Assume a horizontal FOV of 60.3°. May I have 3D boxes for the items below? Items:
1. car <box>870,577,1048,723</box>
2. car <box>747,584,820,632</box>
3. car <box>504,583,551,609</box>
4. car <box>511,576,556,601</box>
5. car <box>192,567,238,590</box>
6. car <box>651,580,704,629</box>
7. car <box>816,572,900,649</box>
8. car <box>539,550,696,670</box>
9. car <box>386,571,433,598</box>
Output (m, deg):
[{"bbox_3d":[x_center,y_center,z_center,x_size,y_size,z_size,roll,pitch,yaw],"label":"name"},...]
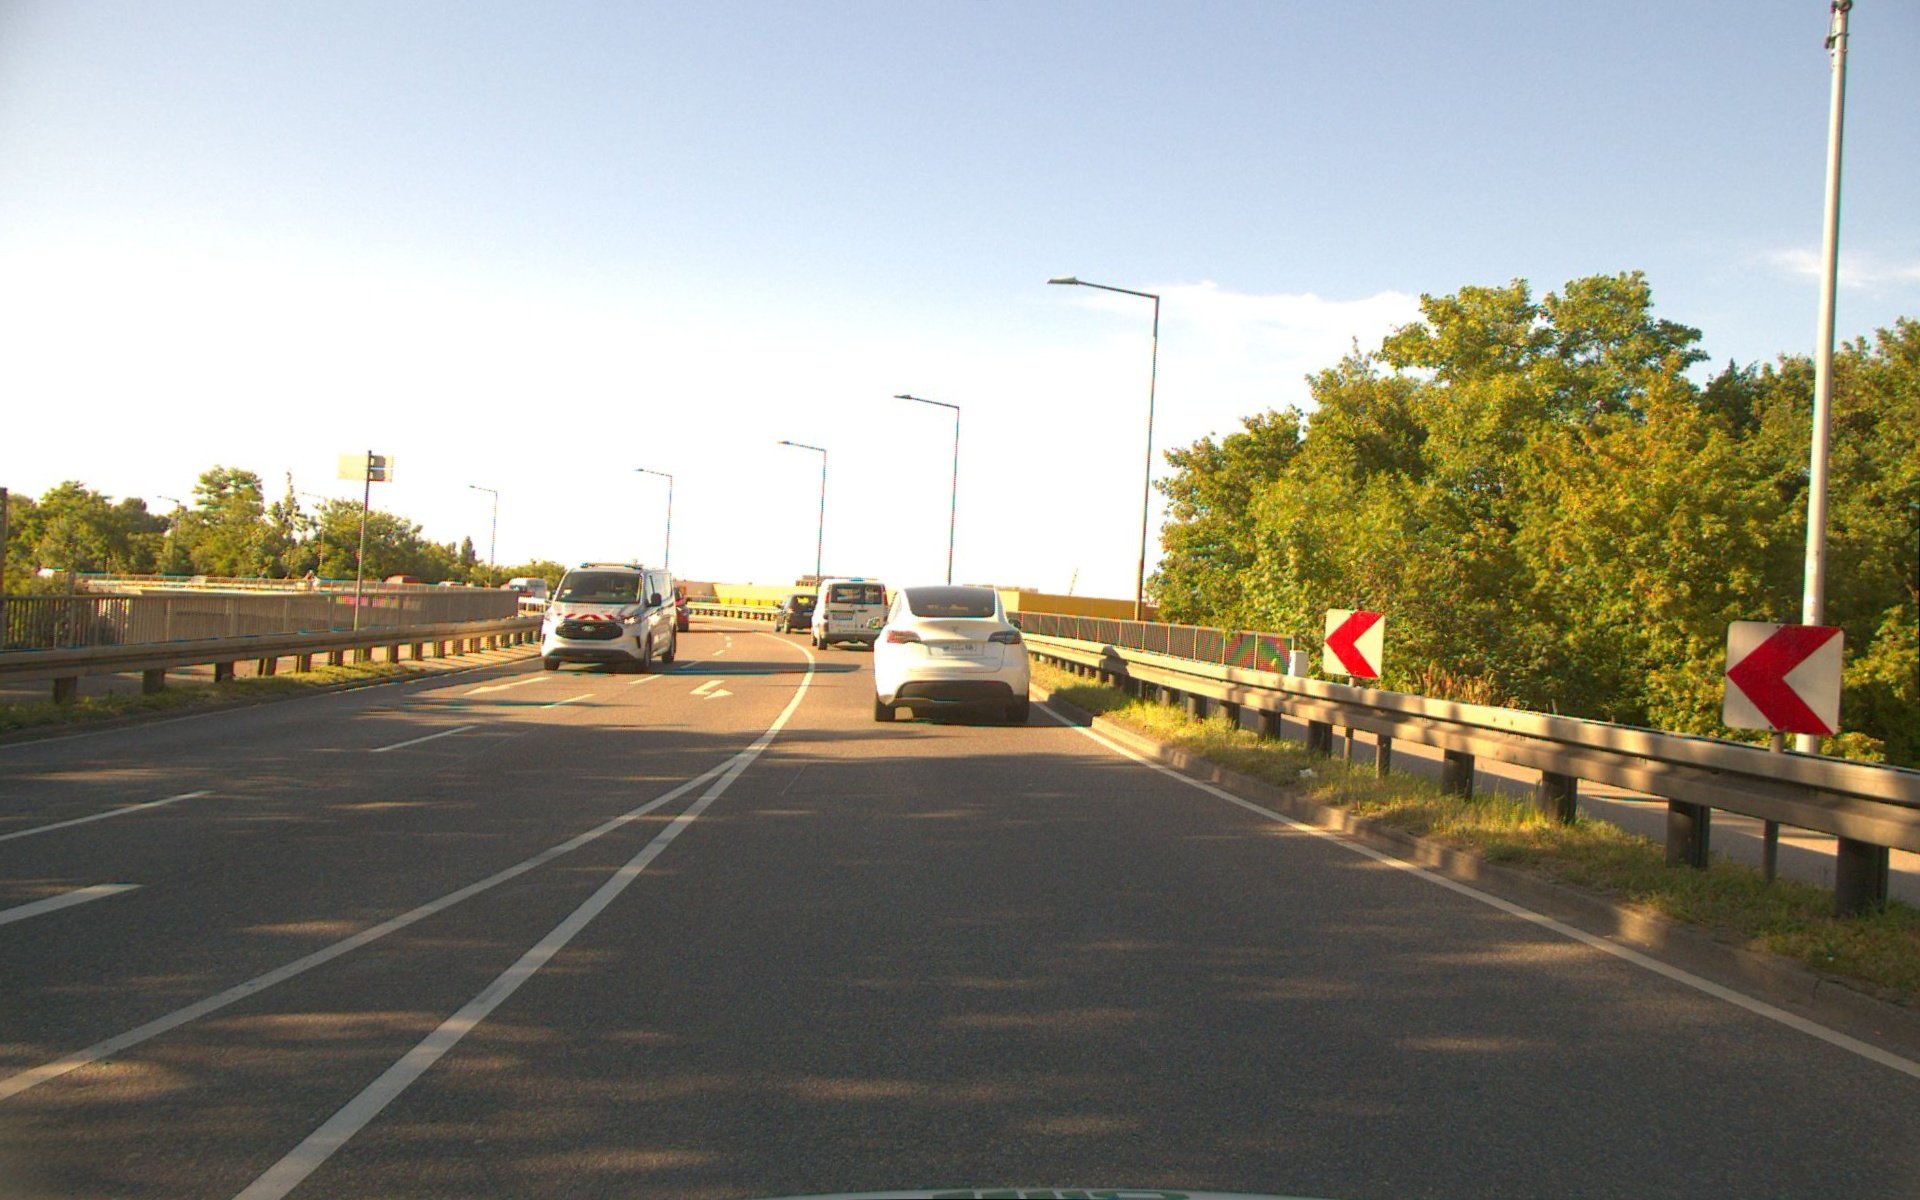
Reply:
[{"bbox_3d":[-0.114,0.569,21.001,1.946,1.666,4.059,0,0,-5],"label":"car"},{"bbox_3d":[-6.446,0.275,60.068,1.937,1.666,3.982,0,0,-16],"label":"car"},{"bbox_3d":[-26.235,-0.247,100.225,1.763,1.462,3.834,1,0,-31],"label":"car"},{"bbox_3d":[-28.457,-0.796,110.327,1.818,1.583,3.851,1,0,-32],"label":"car"},{"bbox_3d":[-66.917,-1.935,148.521,3.917,1.984,1.957,2,0,34],"label":"car"},{"bbox_3d":[-10.194,0.127,59.698,1.771,1.666,3.991,1,0,-10],"label":"car"},{"bbox_3d":[-2.866,0.258,45.465,1.967,1.974,4.460,1,0,-8],"label":"car"},{"bbox_3d":[-6.693,0.168,32.943,1.908,2.149,5.271,1,0,1],"label":"car"},{"bbox_3d":[-42.923,-1.198,128.945,1.948,1.984,3.935,1,0,-44],"label":"car"}]
